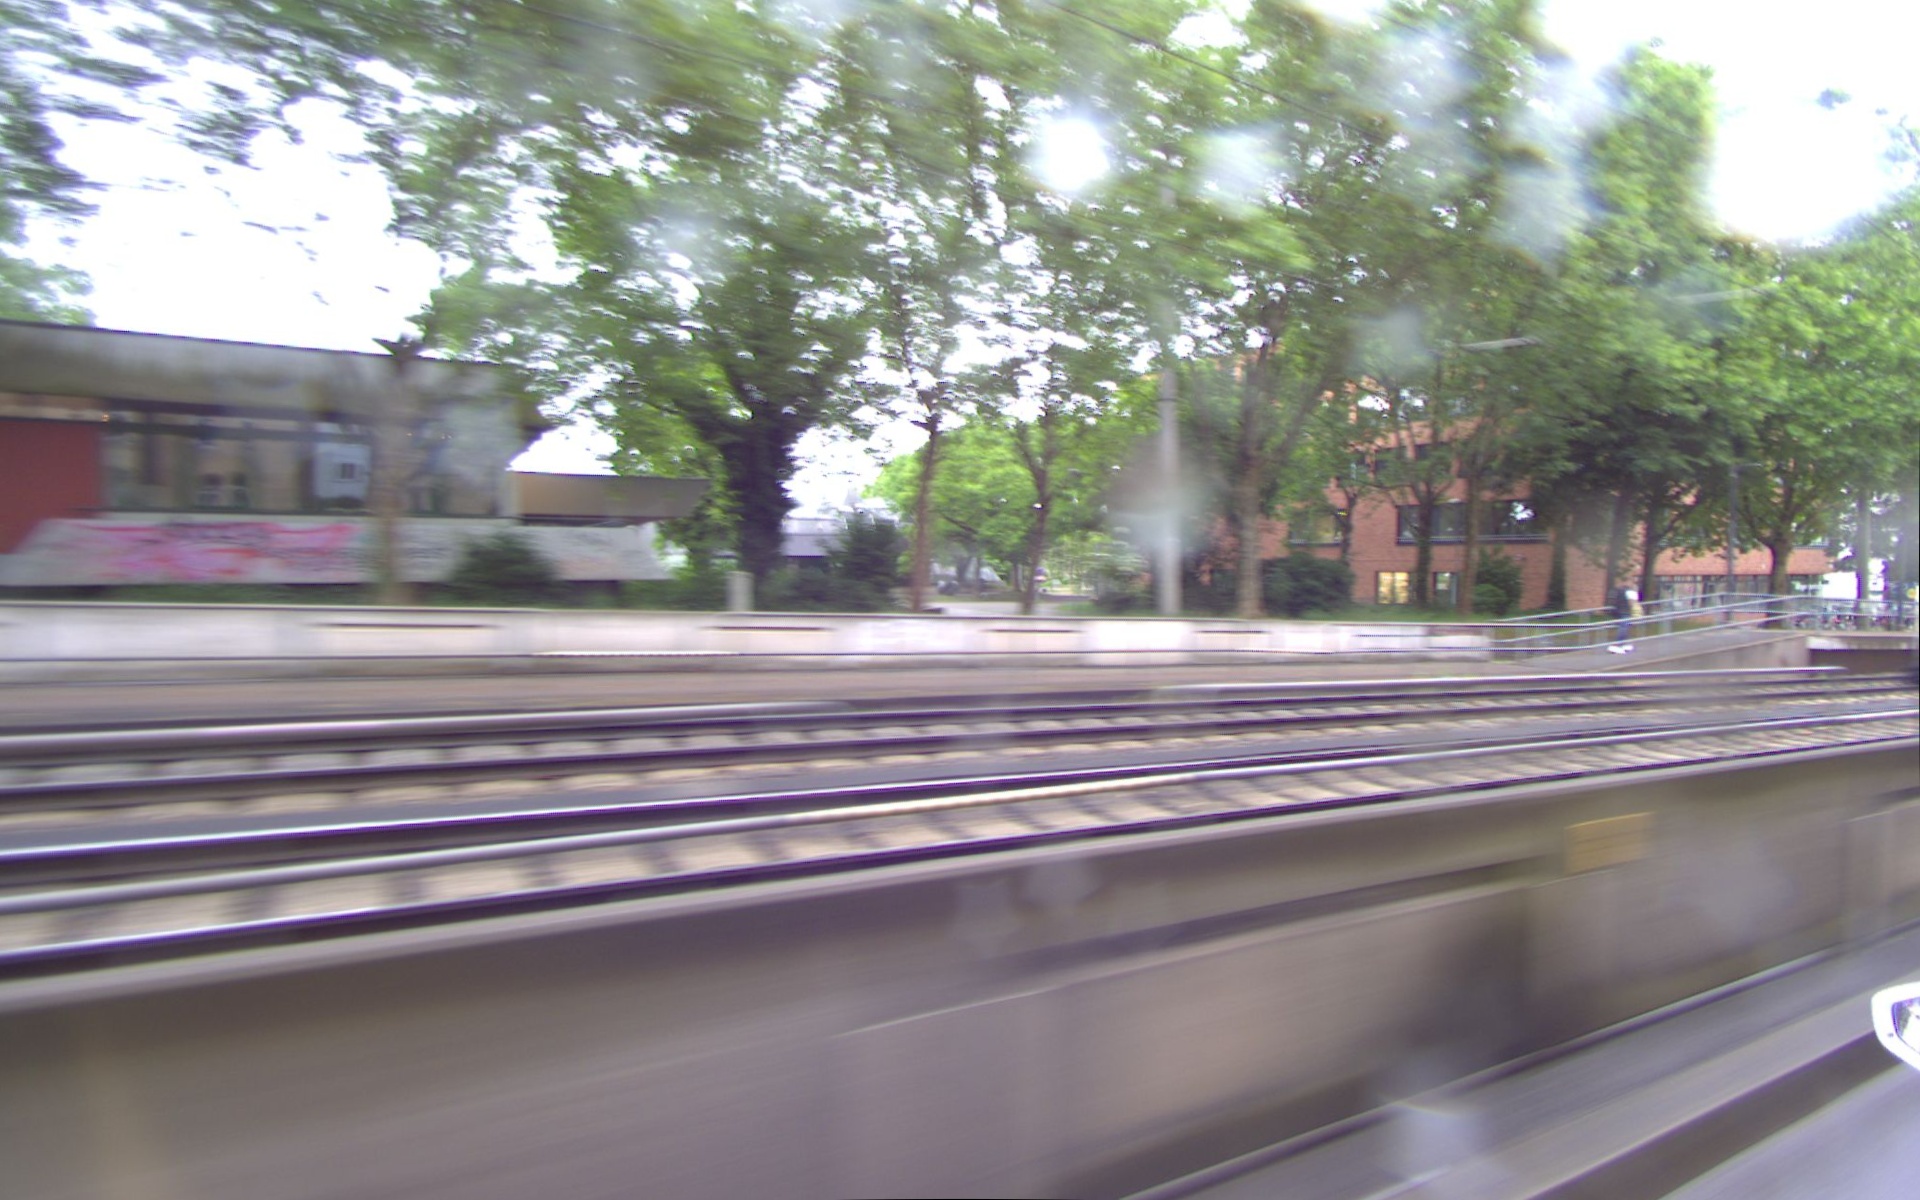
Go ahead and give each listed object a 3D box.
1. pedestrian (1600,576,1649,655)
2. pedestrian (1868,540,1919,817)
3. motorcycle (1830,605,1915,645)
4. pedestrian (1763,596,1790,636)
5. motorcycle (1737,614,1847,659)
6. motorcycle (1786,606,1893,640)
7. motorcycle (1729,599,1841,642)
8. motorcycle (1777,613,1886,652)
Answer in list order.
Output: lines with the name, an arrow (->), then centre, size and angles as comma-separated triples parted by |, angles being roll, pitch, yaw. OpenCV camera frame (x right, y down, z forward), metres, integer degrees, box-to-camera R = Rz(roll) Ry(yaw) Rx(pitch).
pedestrian -> 14.620, 0.320, 22.107 | 0.679, 1.686, 0.654 | -3, 4, -29
pedestrian -> 6.773, 0.533, 6.657 | 0.778, 1.823, 0.855 | 1, 1, -30
motorcycle -> 46.549, 1.269, 51.288 | 0.982, 1.840, 3.021 | 2, 1, -30
pedestrian -> 42.623, 0.841, 52.455 | 0.969, 2.040, 0.729 | 2, 1, -29
motorcycle -> 39.284, 1.697, 47.499 | 0.994, 1.840, 3.844 | 2, 1, -30
motorcycle -> 43.874, 1.125, 50.192 | 0.994, 1.507, 3.844 | 2, 1, -30
motorcycle -> 38.144, 0.925, 46.549 | 0.994, 1.797, 3.844 | 2, 1, -30
motorcycle -> 42.327, 1.553, 48.876 | 0.994, 1.627, 3.844 | 2, 1, -30
